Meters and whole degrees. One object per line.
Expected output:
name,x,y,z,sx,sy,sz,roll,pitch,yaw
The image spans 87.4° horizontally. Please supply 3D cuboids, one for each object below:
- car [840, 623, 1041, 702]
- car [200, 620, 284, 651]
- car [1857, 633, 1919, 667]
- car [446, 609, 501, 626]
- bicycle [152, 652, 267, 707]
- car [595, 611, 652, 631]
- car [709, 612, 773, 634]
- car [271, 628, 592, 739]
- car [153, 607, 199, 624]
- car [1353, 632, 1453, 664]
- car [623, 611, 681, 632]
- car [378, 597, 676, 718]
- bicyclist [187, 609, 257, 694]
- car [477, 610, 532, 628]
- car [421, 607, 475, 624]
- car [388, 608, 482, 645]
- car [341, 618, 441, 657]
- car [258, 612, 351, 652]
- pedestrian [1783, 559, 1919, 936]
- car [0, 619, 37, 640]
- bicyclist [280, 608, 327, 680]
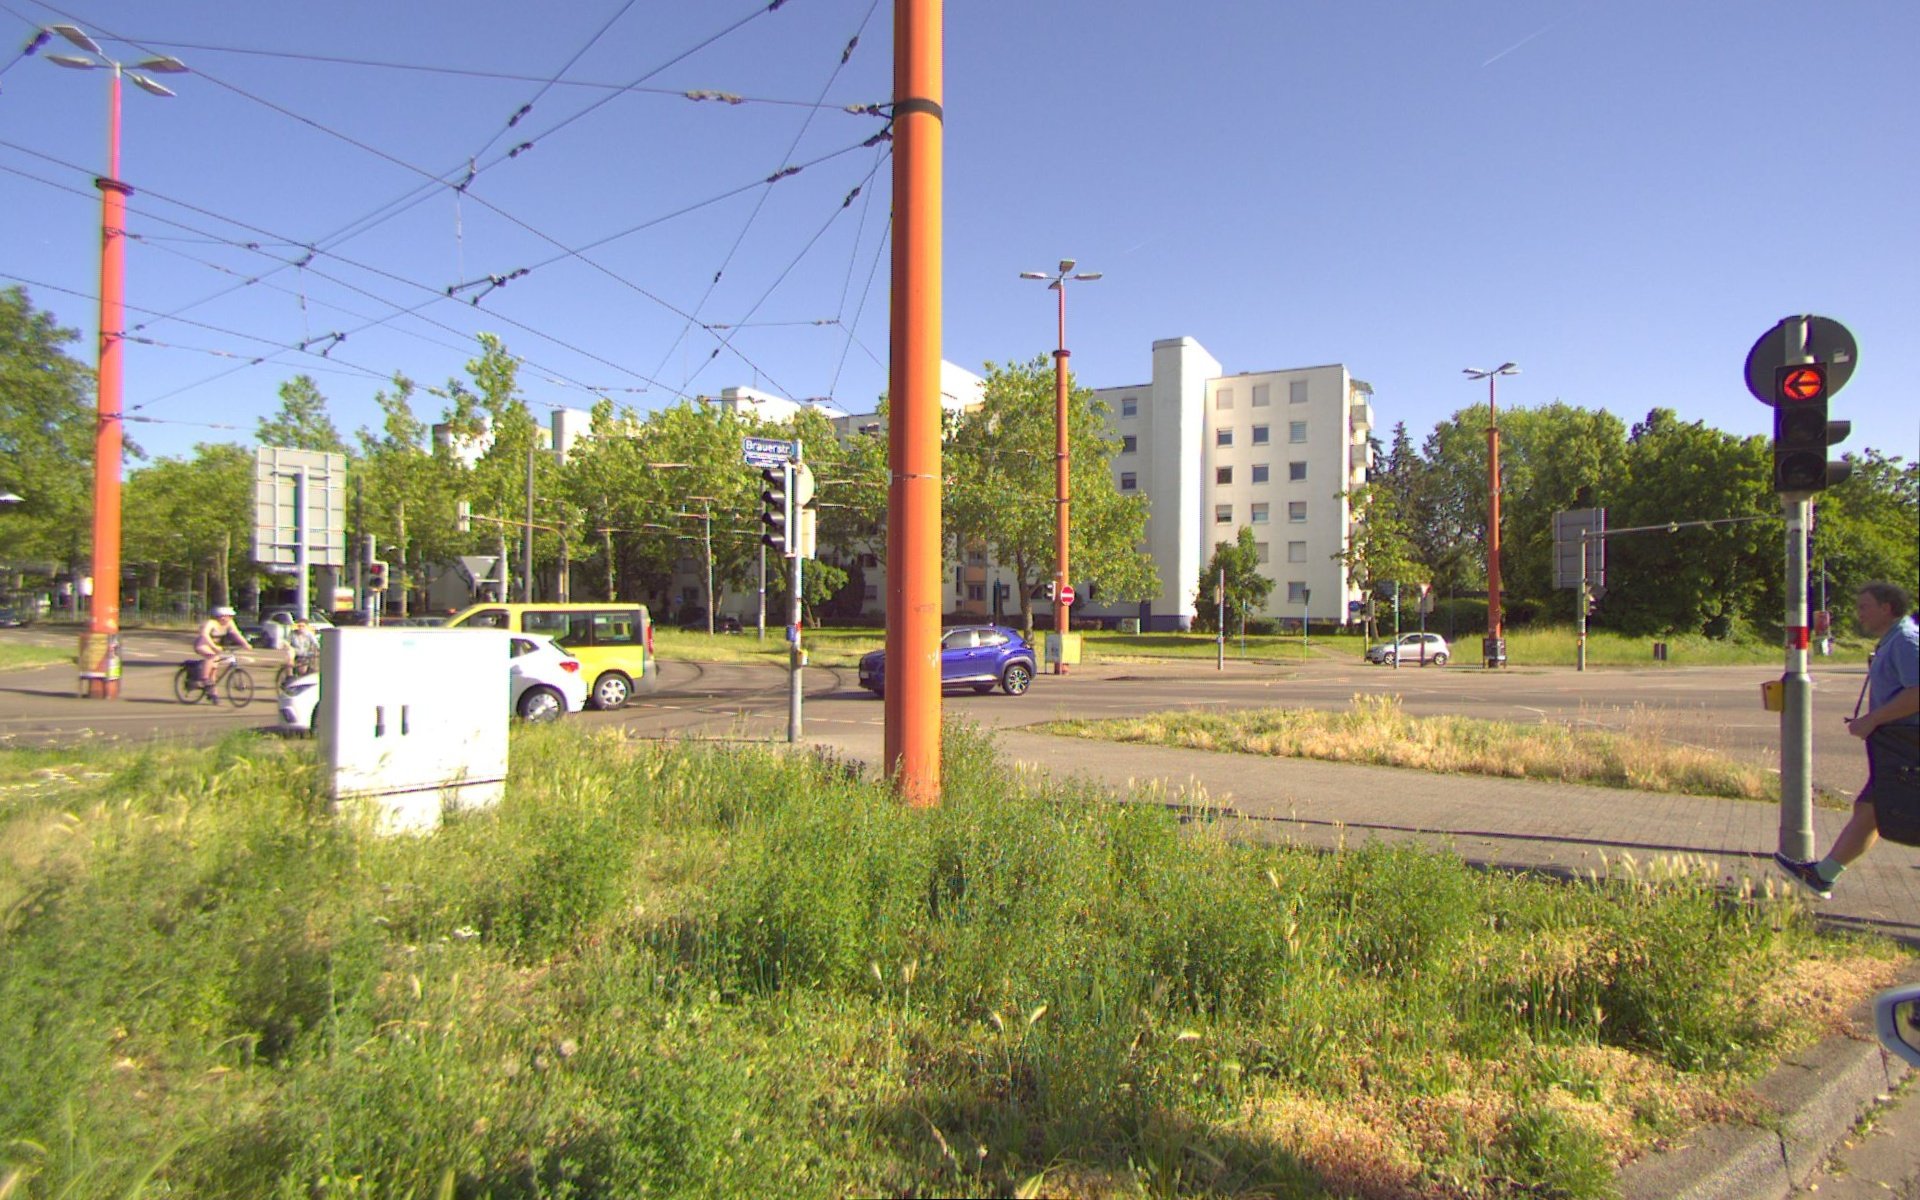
car,-0.422,1.343,22.418,4.058,1.595,1.984,1,-1,-30
car,-34.413,1.662,48.138,4.287,1.368,1.761,0,-1,32
car,37.166,1.961,39.625,3.571,1.260,1.730,1,-1,-31
car,-41.426,1.480,85.627,3.935,1.428,1.794,1,-1,-17
bicycle,-14.141,1.494,18.954,1.612,0.974,0.685,1,-1,-1
car,-24.987,1.552,74.698,3.934,1.428,1.794,1,-1,-16
car,-14.533,1.547,66.845,1.770,1.428,3.987,0,-1,35
car,-7.662,1.155,14.839,3.973,1.425,1.681,1,-1,-30
car,-94.081,1.872,120.538,1.969,2.040,3.984,0,-1,38
car,20.801,2.250,47.264,3.921,1.416,1.757,1,-1,1
car,-22.246,1.543,72.648,3.934,1.428,1.794,1,-1,-16
car,-7.945,1.013,18.609,4.849,1.992,1.984,1,-1,-30
bicyclist,-13.940,0.955,18.992,0.752,1.565,0.732,1,-1,-1
car,-38.022,1.562,83.886,3.935,1.428,1.794,1,-1,-17
car,-44.781,1.381,87.897,3.935,1.428,1.794,1,-1,-17
car,-22.892,1.135,43.752,4.190,1.566,1.853,0,-1,34
car,-22.265,1.438,39.286,3.994,1.454,1.682,0,-1,31
car,-28.793,1.363,44.109,4.179,1.658,1.824,0,-1,32
pedestrian,4.935,0.722,5.228,0.973,1.817,0.951,0,-1,38
car,-66.492,2.045,70.213,4.286,1.368,1.762,1,-1,31
bicyclist,-13.062,0.872,19.985,0.616,1.399,0.443,1,-1,-1
